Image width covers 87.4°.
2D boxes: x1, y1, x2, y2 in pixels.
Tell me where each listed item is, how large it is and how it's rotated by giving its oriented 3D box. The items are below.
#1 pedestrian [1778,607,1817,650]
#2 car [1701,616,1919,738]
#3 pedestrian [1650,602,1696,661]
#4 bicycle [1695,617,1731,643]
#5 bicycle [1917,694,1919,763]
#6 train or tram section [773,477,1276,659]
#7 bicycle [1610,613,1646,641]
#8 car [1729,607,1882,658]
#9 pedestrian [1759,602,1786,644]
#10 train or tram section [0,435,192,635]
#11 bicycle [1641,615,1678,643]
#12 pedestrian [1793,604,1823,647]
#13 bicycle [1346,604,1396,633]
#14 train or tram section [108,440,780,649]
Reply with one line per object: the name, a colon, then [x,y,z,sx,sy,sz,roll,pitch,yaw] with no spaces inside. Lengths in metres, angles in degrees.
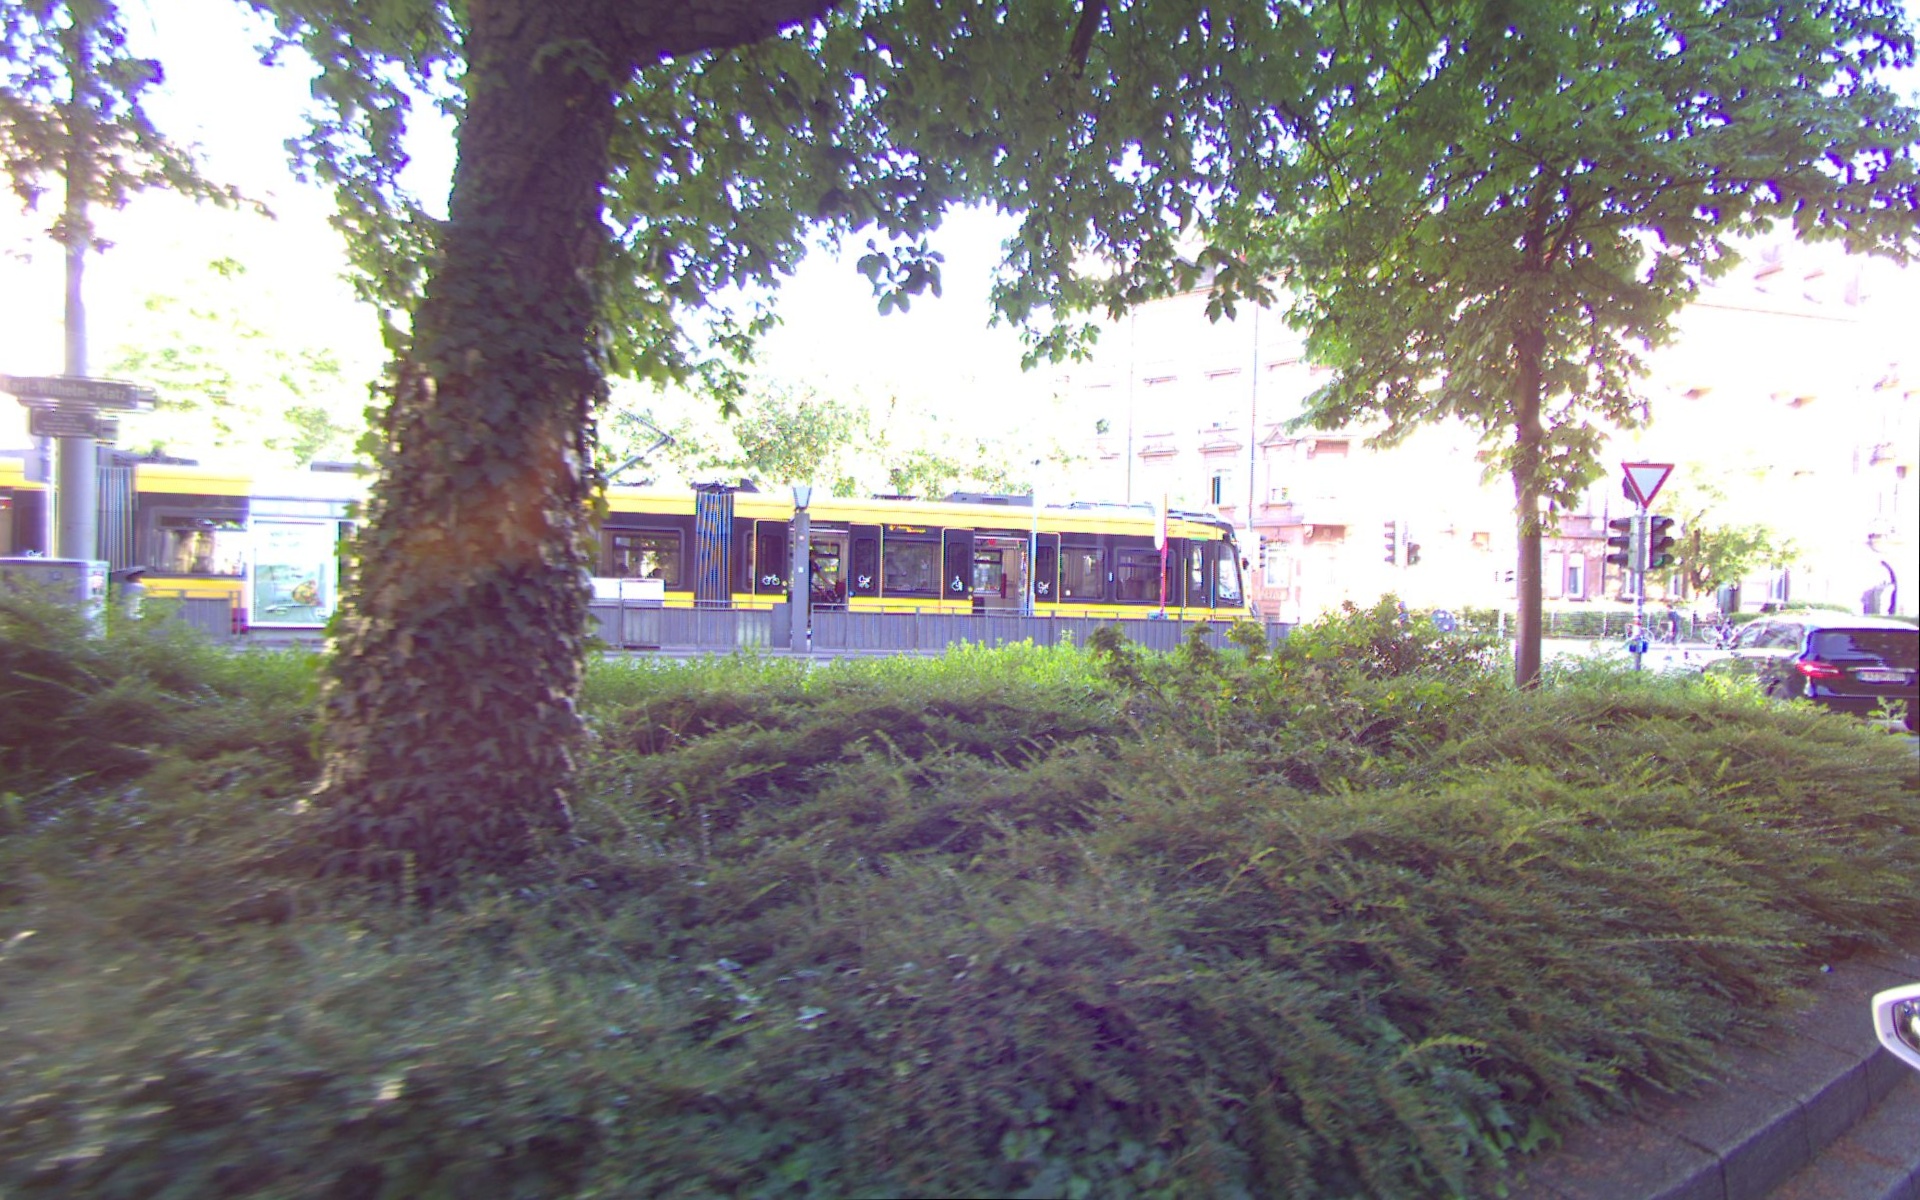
pedestrian: [33.961,1.150,40.755,0.880,1.688,0.712,2,4,5]
car: [12.730,1.031,14.998,1.760,1.562,3.858,0,-1,22]
pedestrian: [21.341,0.925,30.074,0.720,1.657,0.893,-1,4,-43]
bicycle: [31.775,1.277,42.365,1.211,1.052,0.442,1,2,-7]
bicycle: [9.704,1.091,9.411,0.800,1.200,2.218,2,1,38]
train or tram section: [1.500,-0.631,23.957,11.596,3.668,2.793,2,1,-13]
bicycle: [27.852,1.135,41.868,1.210,1.122,0.442,1,2,-6]
car: [30.392,1.159,36.158,4.333,1.672,1.944,2,1,-12]
pedestrian: [34.032,0.968,42.065,0.624,1.738,0.521,2,1,1]
train or tram section: [-22.154,-1.360,18.627,12.462,3.605,2.767,2,1,-13]
bicycle: [29.243,1.211,41.999,1.210,1.122,0.442,1,2,-6]
pedestrian: [34.998,1.046,41.446,0.624,1.738,0.664,2,1,1]
bicycle: [17.779,0.790,43.466,1.928,1.122,0.443,4,2,22]
train or tram section: [-10.112,-0.993,21.337,12.205,3.635,2.779,2,1,-13]
